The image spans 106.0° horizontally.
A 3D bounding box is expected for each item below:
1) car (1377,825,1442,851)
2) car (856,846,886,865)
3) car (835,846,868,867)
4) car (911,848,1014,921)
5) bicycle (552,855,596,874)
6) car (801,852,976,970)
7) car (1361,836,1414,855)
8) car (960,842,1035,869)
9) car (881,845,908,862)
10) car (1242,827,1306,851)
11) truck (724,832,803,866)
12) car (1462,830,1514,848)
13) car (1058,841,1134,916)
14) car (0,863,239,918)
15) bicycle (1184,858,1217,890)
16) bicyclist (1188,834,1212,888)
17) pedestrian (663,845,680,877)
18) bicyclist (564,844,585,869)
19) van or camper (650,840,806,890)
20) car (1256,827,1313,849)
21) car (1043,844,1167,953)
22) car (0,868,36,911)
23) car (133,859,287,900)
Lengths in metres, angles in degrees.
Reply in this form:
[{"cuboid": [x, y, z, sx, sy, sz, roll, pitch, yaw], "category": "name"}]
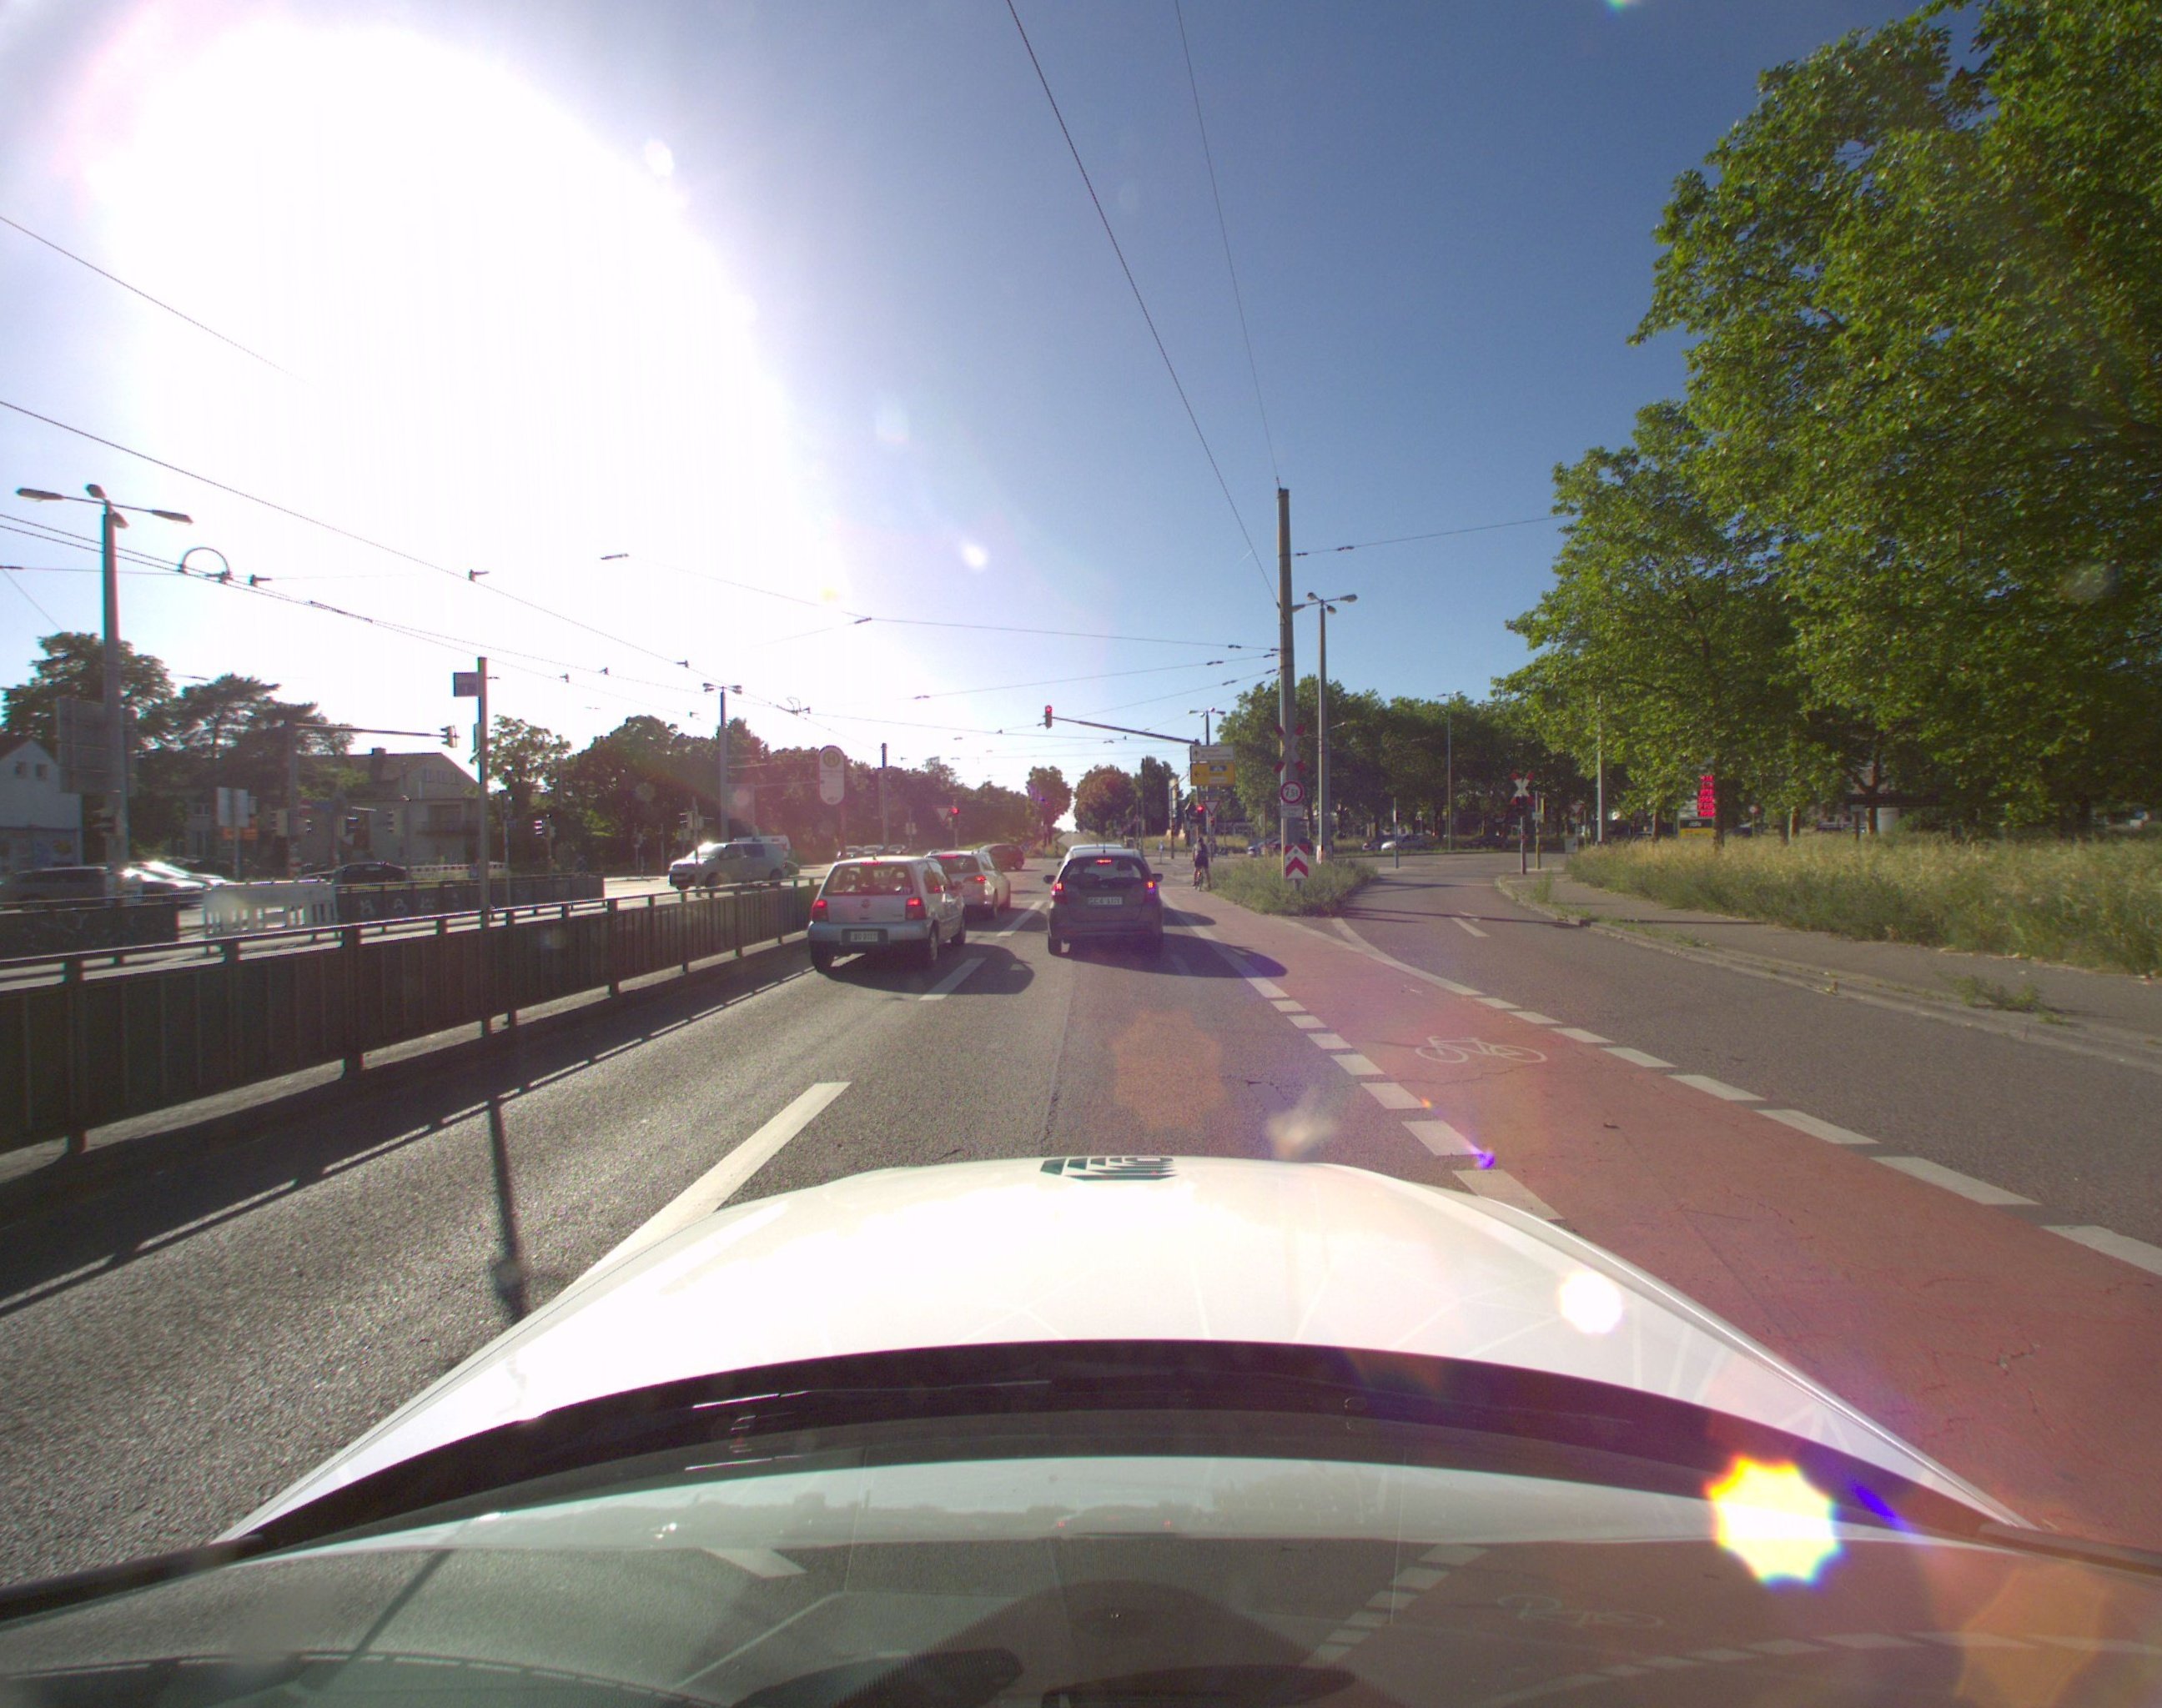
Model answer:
[{"cuboid": [26.805, -1.284, 66.513, 4.906, 2.013, 1.986, -2, 1, -21], "category": "car"}, {"cuboid": [-18.506, 0.137, 72.010, 1.829, 1.548, 4.277, -2, 1, -5], "category": "car"}, {"cuboid": [-18.627, 0.182, 66.217, 1.829, 1.548, 3.993, -2, 1, -5], "category": "car"}, {"cuboid": [-2.555, 0.608, 18.464, 1.613, 1.457, 4.086, 0, 0, 1], "category": "car"}, {"cuboid": [-34.649, 0.701, 55.662, 2.401, 1.262, 0.813, -1, 0, -17], "category": "bicycle"}, {"cuboid": [-2.617, 0.706, 11.804, 1.613, 1.417, 3.352, -2, 0, 1], "category": "car"}, {"cuboid": [26.479, -0.714, 70.337, 3.999, 1.578, 1.868, 0, 0, -19], "category": "car"}, {"cuboid": [-4.716, 0.072, 46.158, 4.038, 1.402, 1.590, -2, 1, -41], "category": "car"}, {"cuboid": [-18.345, -0.082, 80.265, 1.991, 1.604, 4.746, 0, 1, -6], "category": "car"}, {"cuboid": [15.527, -1.154, 65.517, 4.705, 1.879, 1.986, 0, 0, -21], "category": "car"}, {"cuboid": [-25.471, -0.431, 65.656, 1.978, 2.565, 6.854, -1, 1, 17], "category": "truck"}, {"cuboid": [37.440, -1.366, 74.905, 4.526, 1.574, 1.681, -2, 1, -21], "category": "car"}, {"cuboid": [0.382, 0.501, 19.576, 1.605, 1.562, 4.289, -1, 0, 1], "category": "car"}, {"cuboid": [-31.769, 1.152, 27.109, 4.844, 1.497, 1.771, -2, 1, -25], "category": "car"}, {"cuboid": [3.892, 0.627, 26.737, 0.719, 0.989, 2.876, 0, 0, 1], "category": "bicycle"}, {"cuboid": [3.891, 0.222, 26.656, 0.663, 1.716, 0.948, 0, 0, 1], "category": "bicyclist"}, {"cuboid": [-26.189, 0.417, 52.088, 0.748, 2.013, 0.789, -2, 0, -10], "category": "pedestrian"}, {"cuboid": [-34.645, 0.178, 55.679, 1.009, 1.647, 0.813, -1, 0, -16], "category": "bicyclist"}, {"cuboid": [-14.380, 0.375, 33.694, 1.975, 1.828, 6.023, -1, 1, 27], "category": "van or camper"}, {"cuboid": [15.317, -1.211, 61.341, 4.002, 1.531, 1.594, -2, 1, -21], "category": "car"}, {"cuboid": [0.323, 0.590, 12.936, 1.663, 1.461, 3.585, -1, 1, 0], "category": "car"}, {"cuboid": [-38.866, 1.296, 27.434, 4.182, 1.432, 1.580, -2, 1, -25], "category": "car"}, {"cuboid": [-36.471, 1.039, 34.230, 4.002, 1.478, 1.703, -2, 1, -22], "category": "car"}]
